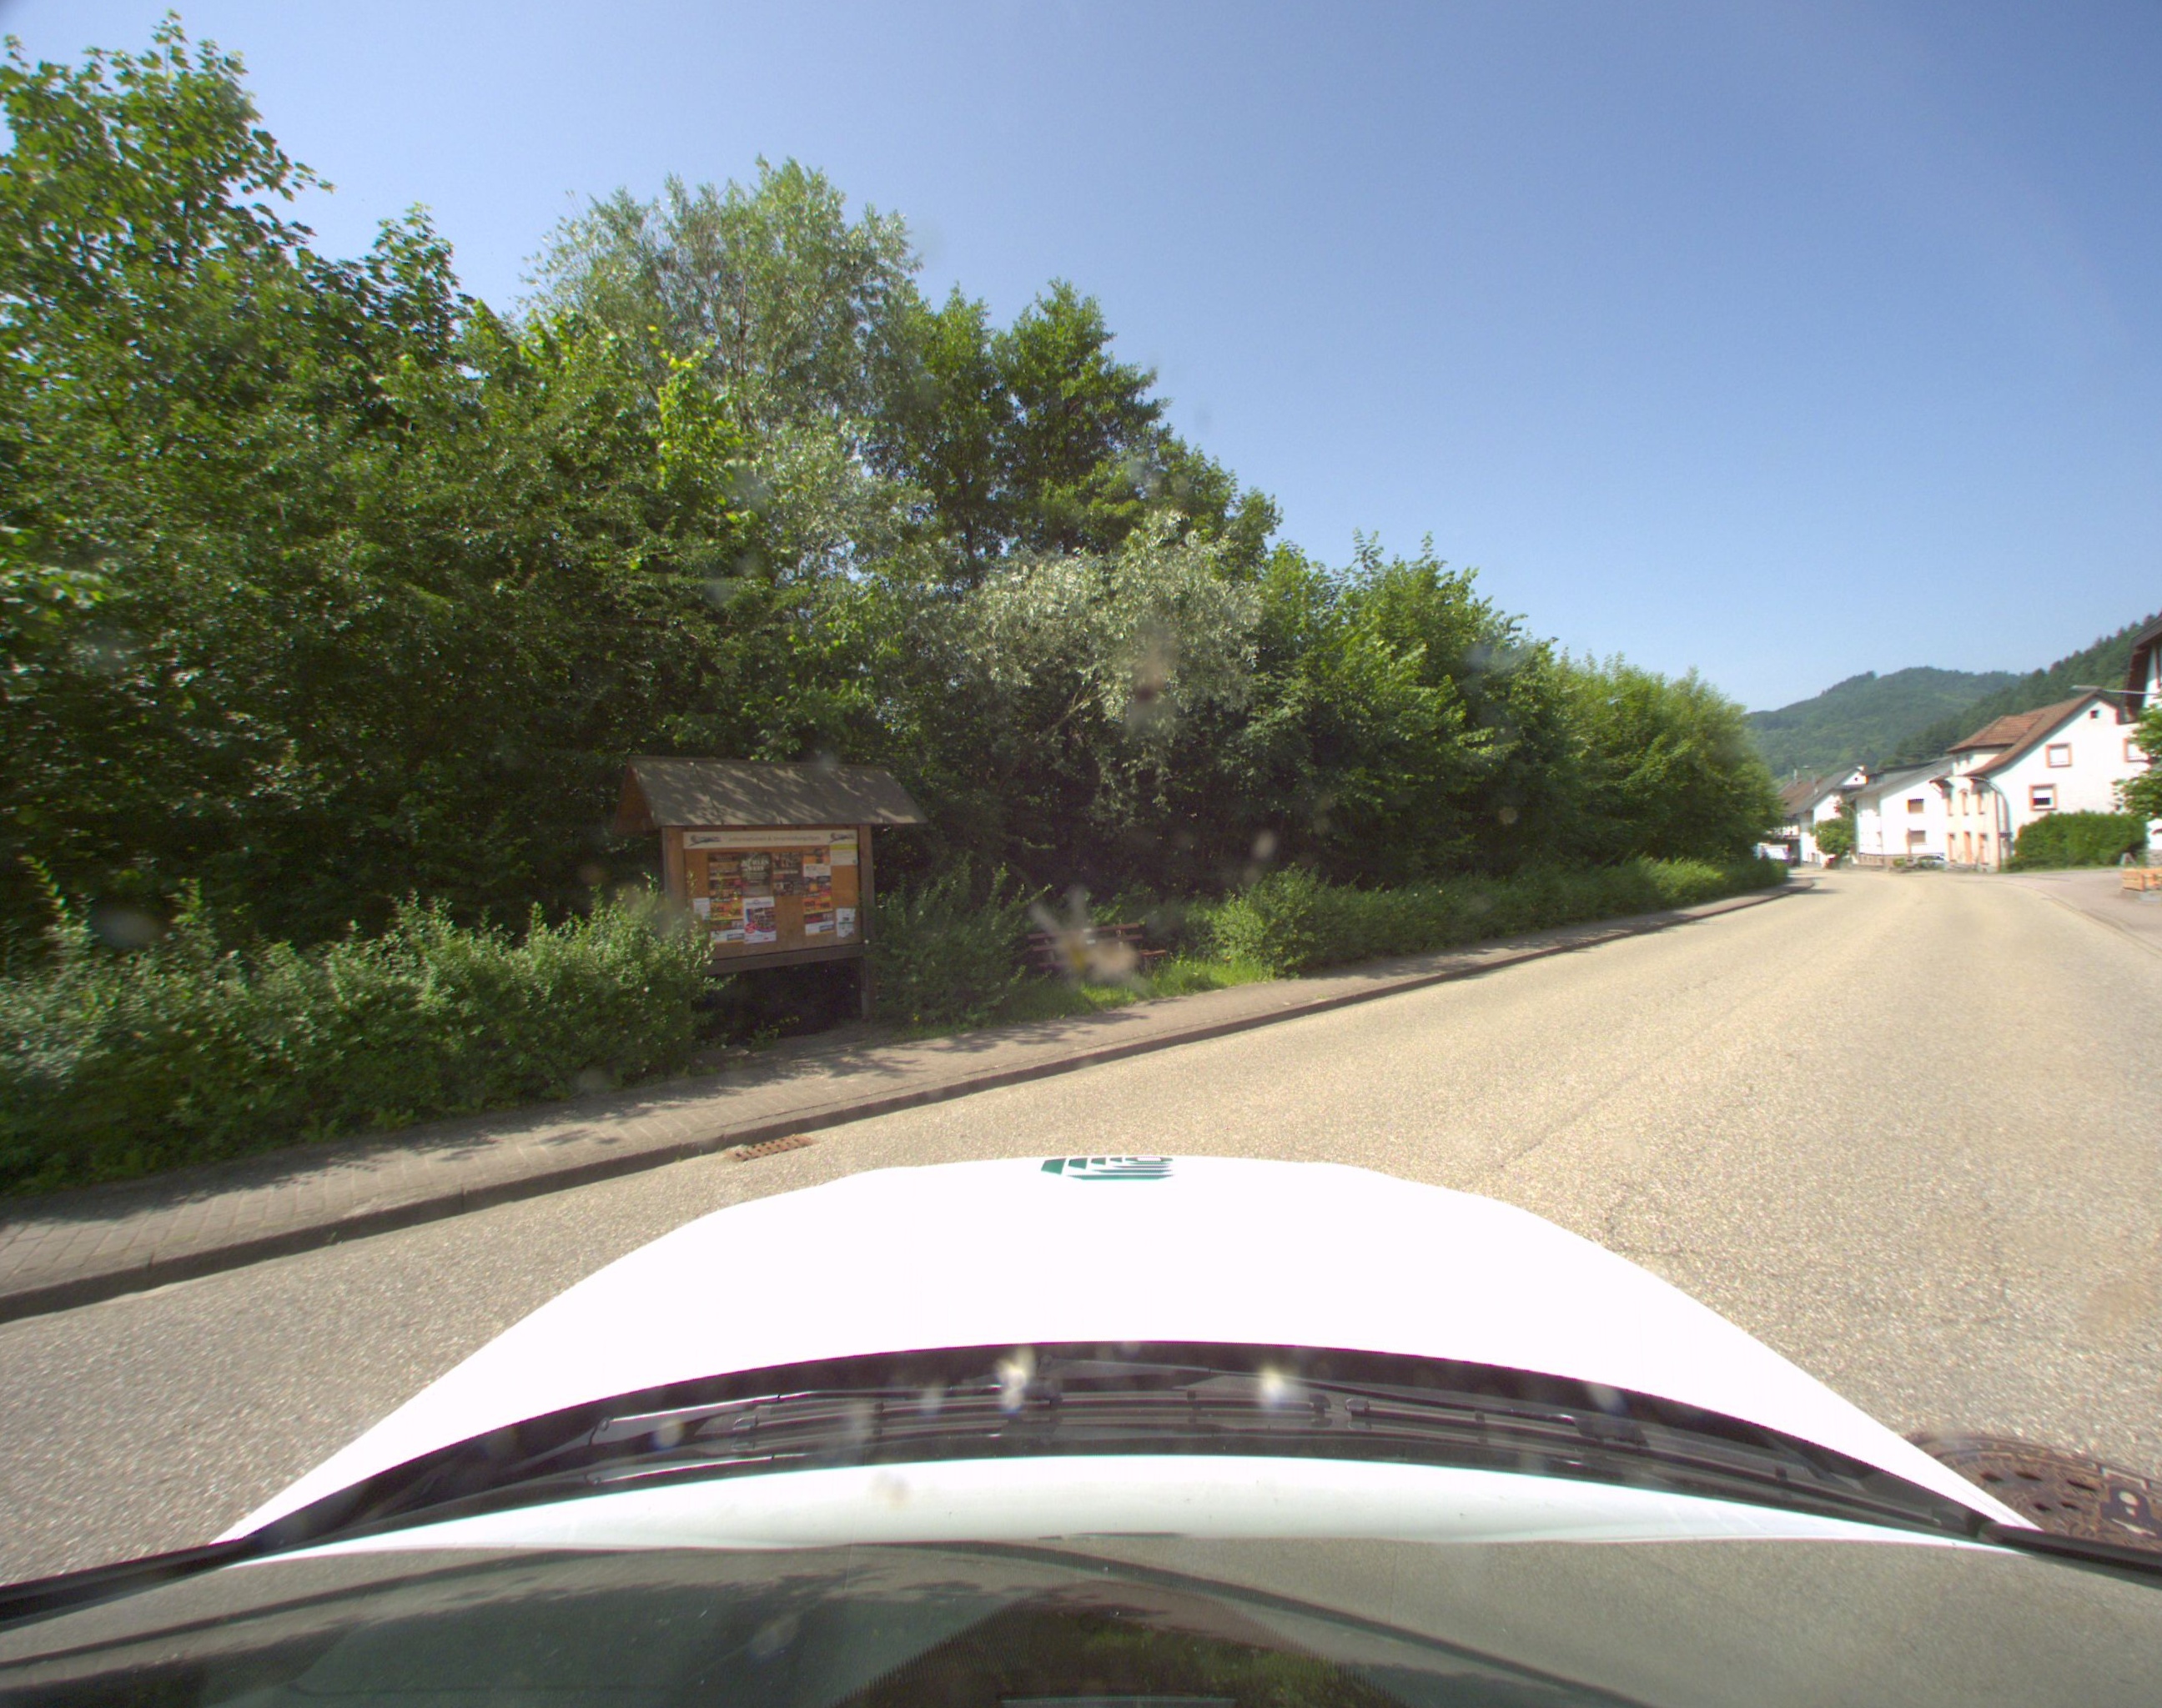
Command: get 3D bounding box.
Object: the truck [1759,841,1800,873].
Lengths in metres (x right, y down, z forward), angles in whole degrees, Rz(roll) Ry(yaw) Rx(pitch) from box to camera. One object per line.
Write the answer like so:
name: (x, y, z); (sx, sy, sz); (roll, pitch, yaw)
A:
truck: (96.042, 0.537, 112.143); (3.330, 3.783, 8.492); (-7, -7, 36)
